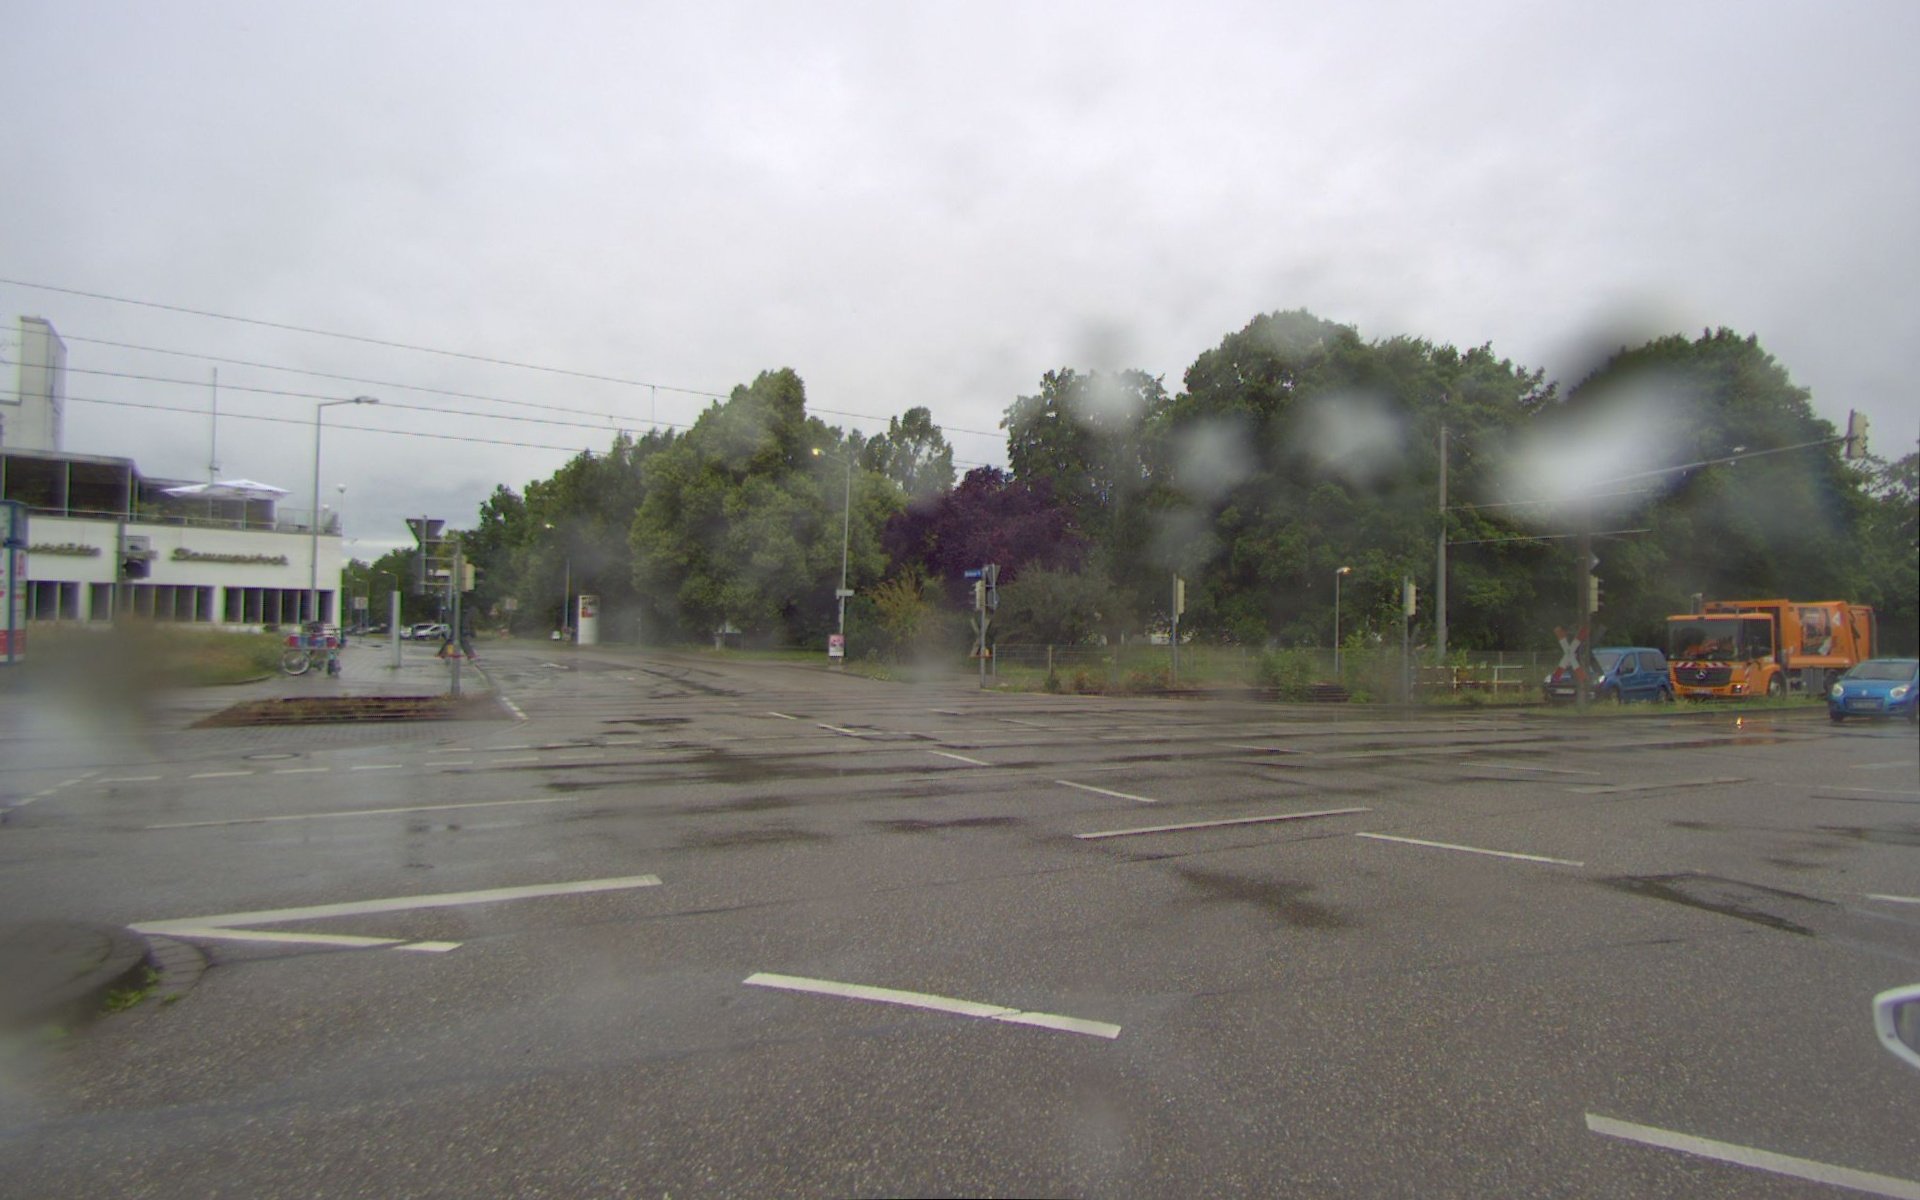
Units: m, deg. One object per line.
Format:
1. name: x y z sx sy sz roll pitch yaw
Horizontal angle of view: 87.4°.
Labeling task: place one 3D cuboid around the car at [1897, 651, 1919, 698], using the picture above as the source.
1. car: 40.887 3.131 41.498 4.719 1.852 1.983 3 0 -32

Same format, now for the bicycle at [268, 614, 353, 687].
1. bicycle: -16.311 1.269 25.276 1.713 1.784 0.637 2 -2 -29

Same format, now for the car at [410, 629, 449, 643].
1. car: -63.720 4.377 120.708 3.957 1.517 1.685 3 0 -33

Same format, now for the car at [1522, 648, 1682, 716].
1. car: 18.530 2.332 28.972 4.472 1.732 1.985 3 0 -29

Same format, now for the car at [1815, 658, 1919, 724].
1. car: 22.192 2.132 23.931 3.956 1.446 1.632 3 -4 -32

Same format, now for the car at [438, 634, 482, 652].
1. car: -53.263 4.571 107.068 3.962 1.726 1.856 3 -1 -36

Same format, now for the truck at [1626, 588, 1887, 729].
1. truck: 27.249 1.951 34.187 10.284 4.222 3.369 3 0 -30

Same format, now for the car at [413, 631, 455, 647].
1. car: -59.513 4.421 113.586 3.962 1.726 1.856 3 -1 -36
